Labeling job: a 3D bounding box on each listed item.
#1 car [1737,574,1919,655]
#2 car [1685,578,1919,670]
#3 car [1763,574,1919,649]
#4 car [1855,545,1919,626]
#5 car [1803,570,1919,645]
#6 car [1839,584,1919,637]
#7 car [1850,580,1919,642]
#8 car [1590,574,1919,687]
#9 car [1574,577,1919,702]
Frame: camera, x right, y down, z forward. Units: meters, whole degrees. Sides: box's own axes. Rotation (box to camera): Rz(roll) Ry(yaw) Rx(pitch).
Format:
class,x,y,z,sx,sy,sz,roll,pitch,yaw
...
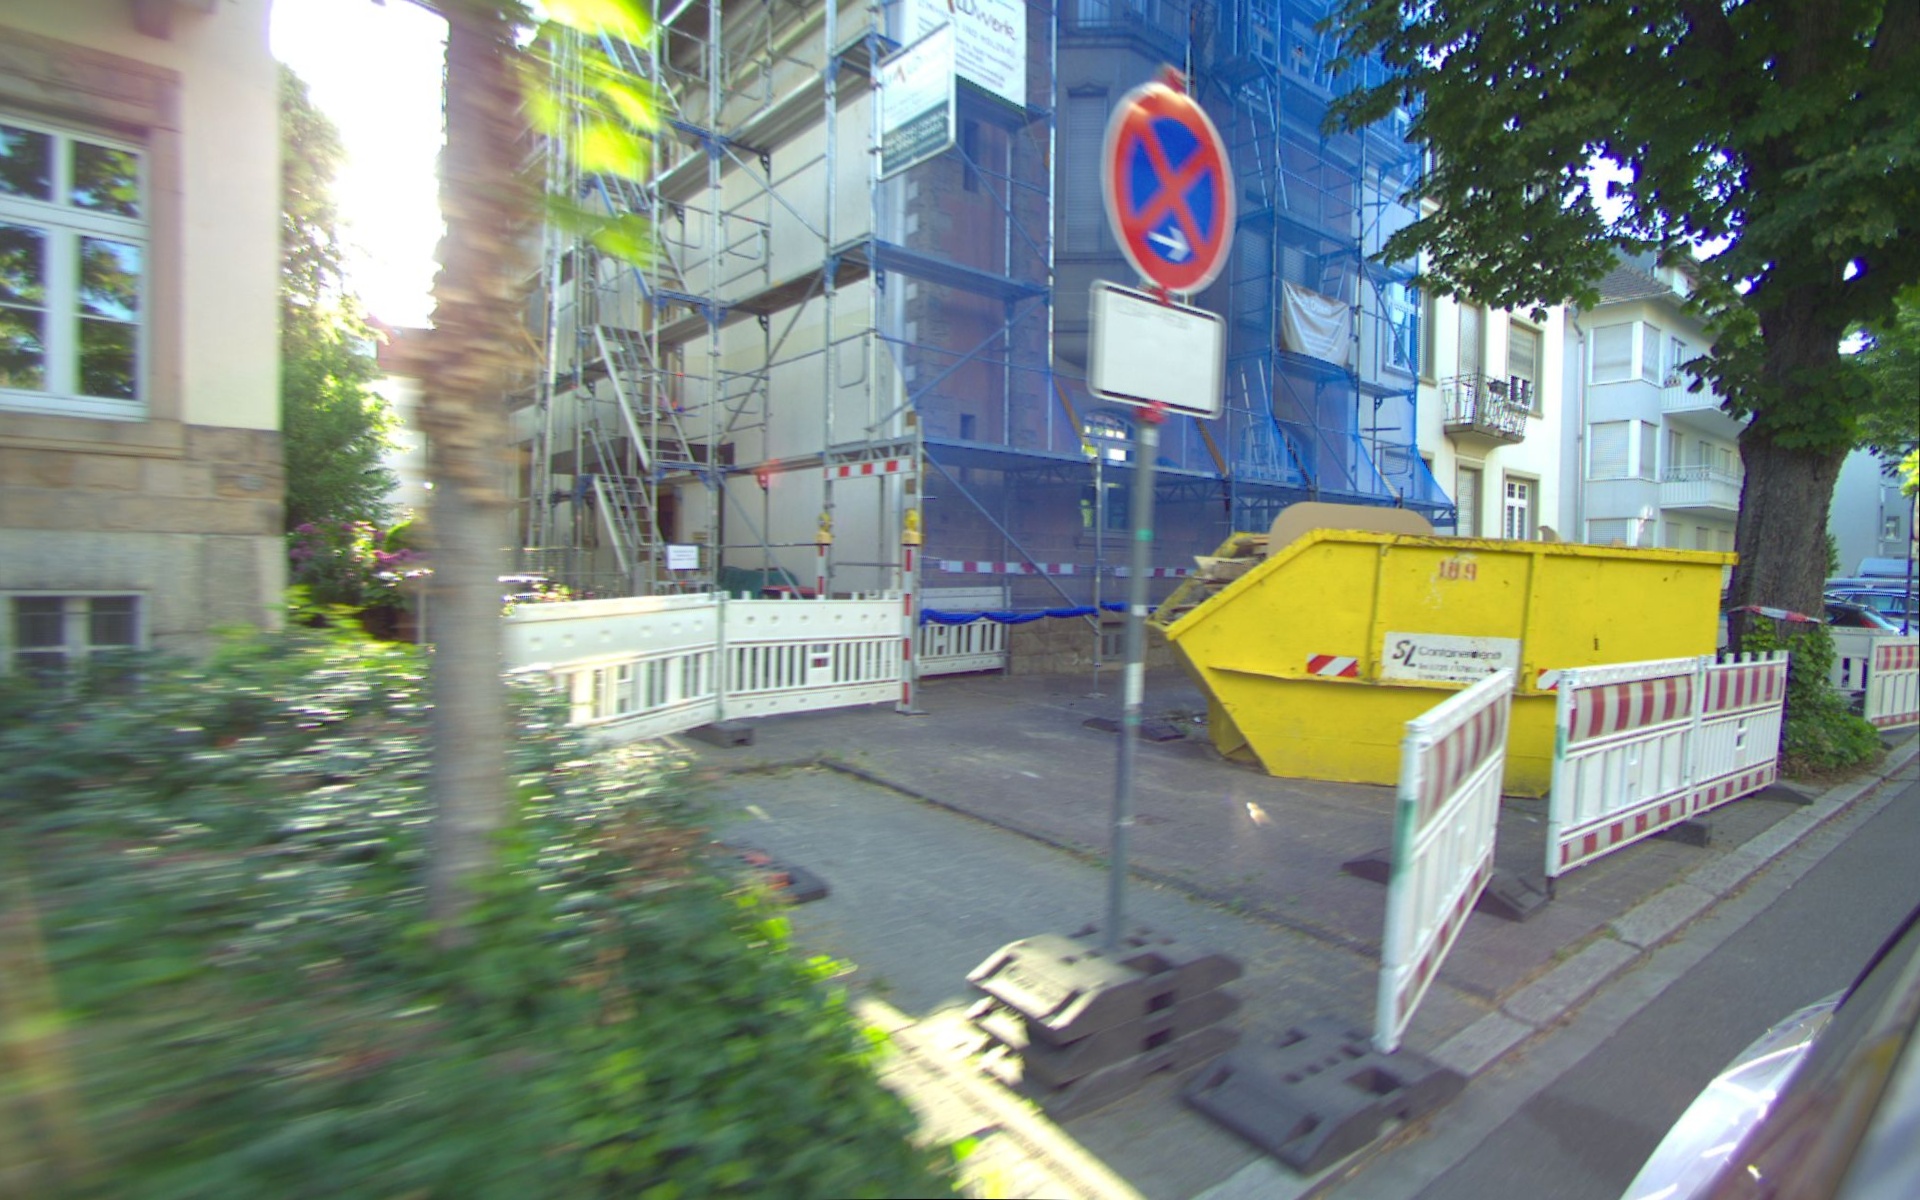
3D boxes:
class,x,y,z,sx,sy,sz,roll,pitch,yaw
car,21.423,0.314,24.115,1.676,1.703,4.339,0,3,-42
car,17.563,0.415,20.642,1.818,1.558,4.165,0,4,-40
car,23.280,0.278,25.876,1.674,1.703,3.962,1,3,-37
car,36.314,-0.489,37.040,2.041,2.938,5.103,0,2,-42
car,26.708,0.188,28.399,1.863,2.038,4.477,0,2,-42
car,30.239,0.335,31.802,1.610,1.573,3.730,-1,2,-39
car,28.865,0.331,29.634,4.175,1.745,1.739,2,3,43
car,13.927,0.417,17.542,1.818,1.553,4.730,0,4,-40
car,12.086,0.490,15.653,1.817,1.510,3.999,0,3,-38
